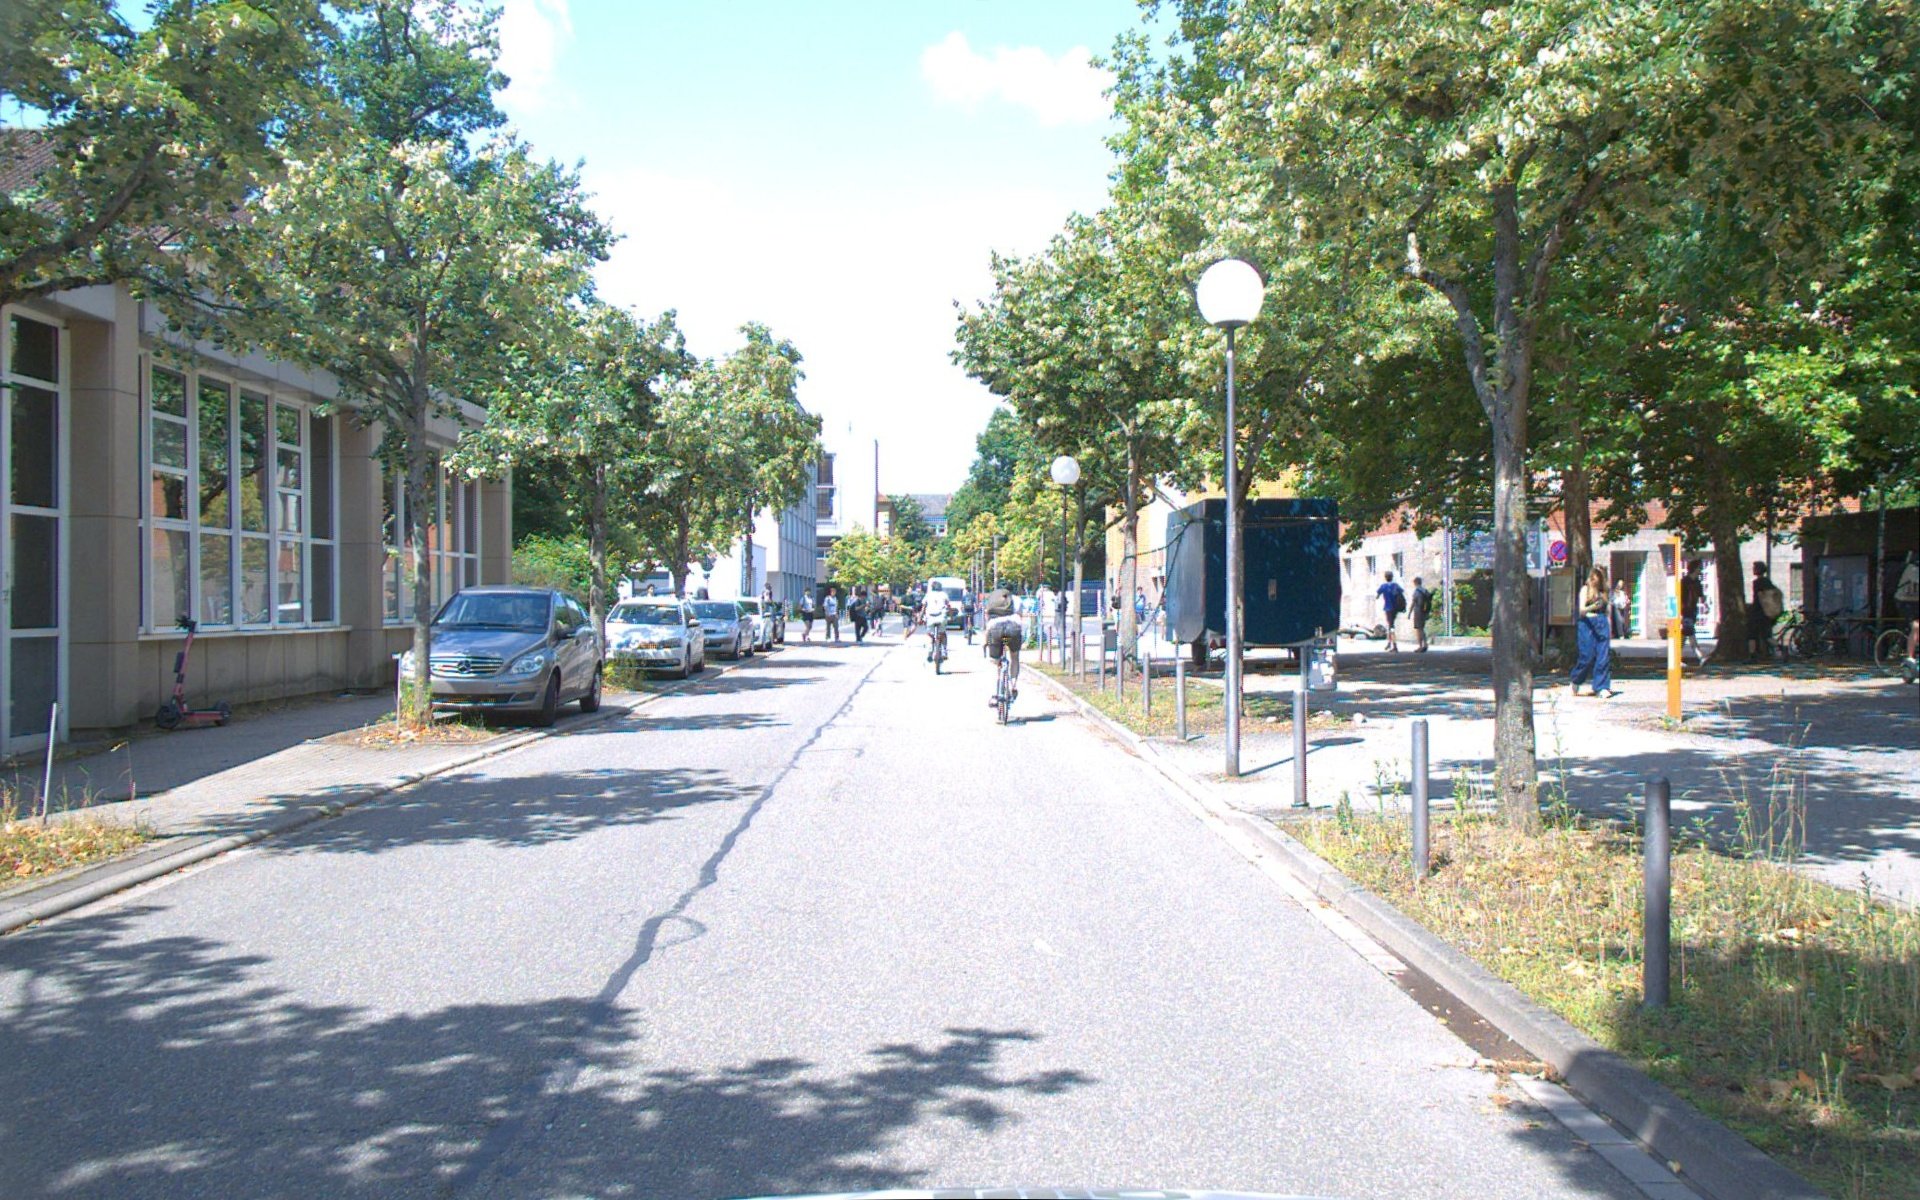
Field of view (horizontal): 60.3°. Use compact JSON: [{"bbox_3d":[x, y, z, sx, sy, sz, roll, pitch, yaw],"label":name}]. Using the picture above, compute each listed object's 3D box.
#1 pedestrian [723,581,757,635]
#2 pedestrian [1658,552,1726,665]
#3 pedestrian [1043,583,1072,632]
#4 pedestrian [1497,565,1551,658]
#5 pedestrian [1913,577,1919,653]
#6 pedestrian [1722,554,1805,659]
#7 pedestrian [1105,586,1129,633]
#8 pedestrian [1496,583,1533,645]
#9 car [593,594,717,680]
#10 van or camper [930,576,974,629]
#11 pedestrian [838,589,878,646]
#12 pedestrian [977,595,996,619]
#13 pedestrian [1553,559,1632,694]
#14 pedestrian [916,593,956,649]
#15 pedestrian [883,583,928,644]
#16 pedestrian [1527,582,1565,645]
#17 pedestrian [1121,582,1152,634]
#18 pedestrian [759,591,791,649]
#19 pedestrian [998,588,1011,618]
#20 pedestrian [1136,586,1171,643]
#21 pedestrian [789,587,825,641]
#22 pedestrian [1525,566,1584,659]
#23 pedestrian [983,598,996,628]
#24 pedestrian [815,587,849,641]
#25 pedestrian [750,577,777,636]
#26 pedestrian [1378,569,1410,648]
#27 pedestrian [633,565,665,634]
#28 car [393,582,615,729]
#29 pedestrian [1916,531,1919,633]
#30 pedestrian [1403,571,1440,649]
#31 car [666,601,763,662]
[{"bbox_3d":[-7.626,0.267,57.305,0.785,1.803,0.854,3,1,24],"label":"pedestrian"},{"bbox_3d":[12.479,0.142,28.205,0.749,1.887,0.824,-1,0,-1],"label":"pedestrian"},{"bbox_3d":[3.588,0.260,60.749,0.938,1.724,0.705,3,2,9],"label":"pedestrian"},{"bbox_3d":[10.473,0.215,30.740,0.683,1.690,0.788,-1,0,-1],"label":"pedestrian"},{"bbox_3d":[17.515,0.258,29.464,0.558,1.370,0.728,-3,1,-5],"label":"pedestrian"},{"bbox_3d":[14.059,0.104,28.949,0.940,1.806,0.918,-1,1,-9],"label":"pedestrian"},{"bbox_3d":[5.691,0.339,59.935,0.496,1.658,0.566,-7,3,-29],"label":"pedestrian"},{"bbox_3d":[14.833,0.372,44.217,0.646,1.635,0.678,-1,0,-16],"label":"pedestrian"},{"bbox_3d":[-5.768,0.672,31.726,1.691,1.482,4.580,2,0,-3],"label":"car"},{"bbox_3d":[-0.363,0.152,80.990,1.952,2.488,4.570,-1,-1,2],"label":"van or camper"},{"bbox_3d":[-3.290,0.561,53.475,0.976,1.750,0.699,2,-3,41],"label":"pedestrian"},{"bbox_3d":[2.322,0.635,147.315,1.470,2.031,1.645,-3,1,-3],"label":"pedestrian"},{"bbox_3d":[7.735,0.321,20.259,0.557,1.599,0.927,-2,0,-1],"label":"pedestrian"},{"bbox_3d":[-0.724,0.629,49.771,0.844,1.623,0.817,-2,1,-44],"label":"pedestrian"},{"bbox_3d":[-1.713,0.415,52.104,1.096,1.892,0.849,-1,0,41],"label":"pedestrian"},{"bbox_3d":[15.420,0.359,43.496,0.646,1.635,0.678,-1,0,-16],"label":"pedestrian"},{"bbox_3d":[6.442,0.283,60.305,0.700,1.818,0.745,-7,3,-29],"label":"pedestrian"},{"bbox_3d":[-6.547,0.703,58.515,0.810,2.014,0.691,3,1,24],"label":"pedestrian"},{"bbox_3d":[2.807,0.207,104.666,0.774,1.892,1.026,-1,0,0],"label":"pedestrian"},{"bbox_3d":[6.021,0.443,51.451,0.858,1.666,0.949,-4,1,-1],"label":"pedestrian"},{"bbox_3d":[-5.071,0.459,54.833,0.965,1.769,0.697,1,-1,38],"label":"pedestrian"},{"bbox_3d":[11.102,0.236,30.912,0.749,1.690,0.824,-1,0,-1],"label":"pedestrian"},{"bbox_3d":[1.893,0.847,106.536,0.774,1.892,1.026,-1,0,0],"label":"pedestrian"},{"bbox_3d":[-4.277,0.452,55.350,0.891,1.769,0.676,1,0,37],"label":"pedestrian"},{"bbox_3d":[-6.847,0.215,57.501,0.610,2.015,0.819,-1,-2,-32],"label":"pedestrian"},{"bbox_3d":[10.317,0.204,39.312,0.583,1.828,0.406,-3,1,-5],"label":"pedestrian"},{"bbox_3d":[-8.609,-0.003,45.799,0.695,1.746,1.106,6,-5,-9],"label":"pedestrian"},{"bbox_3d":[-5.465,0.626,20.331,1.722,1.583,4.111,2,0,-3],"label":"car"},{"bbox_3d":[14.377,-0.014,23.470,0.820,1.983,1.072,-2,0,-21],"label":"pedestrian"},{"bbox_3d":[11.089,0.229,39.731,0.583,1.828,0.727,-3,2,-4],"label":"pedestrian"},{"bbox_3d":[-5.903,0.727,40.179,1.690,1.367,4.165,1,0,0],"label":"car"}]
